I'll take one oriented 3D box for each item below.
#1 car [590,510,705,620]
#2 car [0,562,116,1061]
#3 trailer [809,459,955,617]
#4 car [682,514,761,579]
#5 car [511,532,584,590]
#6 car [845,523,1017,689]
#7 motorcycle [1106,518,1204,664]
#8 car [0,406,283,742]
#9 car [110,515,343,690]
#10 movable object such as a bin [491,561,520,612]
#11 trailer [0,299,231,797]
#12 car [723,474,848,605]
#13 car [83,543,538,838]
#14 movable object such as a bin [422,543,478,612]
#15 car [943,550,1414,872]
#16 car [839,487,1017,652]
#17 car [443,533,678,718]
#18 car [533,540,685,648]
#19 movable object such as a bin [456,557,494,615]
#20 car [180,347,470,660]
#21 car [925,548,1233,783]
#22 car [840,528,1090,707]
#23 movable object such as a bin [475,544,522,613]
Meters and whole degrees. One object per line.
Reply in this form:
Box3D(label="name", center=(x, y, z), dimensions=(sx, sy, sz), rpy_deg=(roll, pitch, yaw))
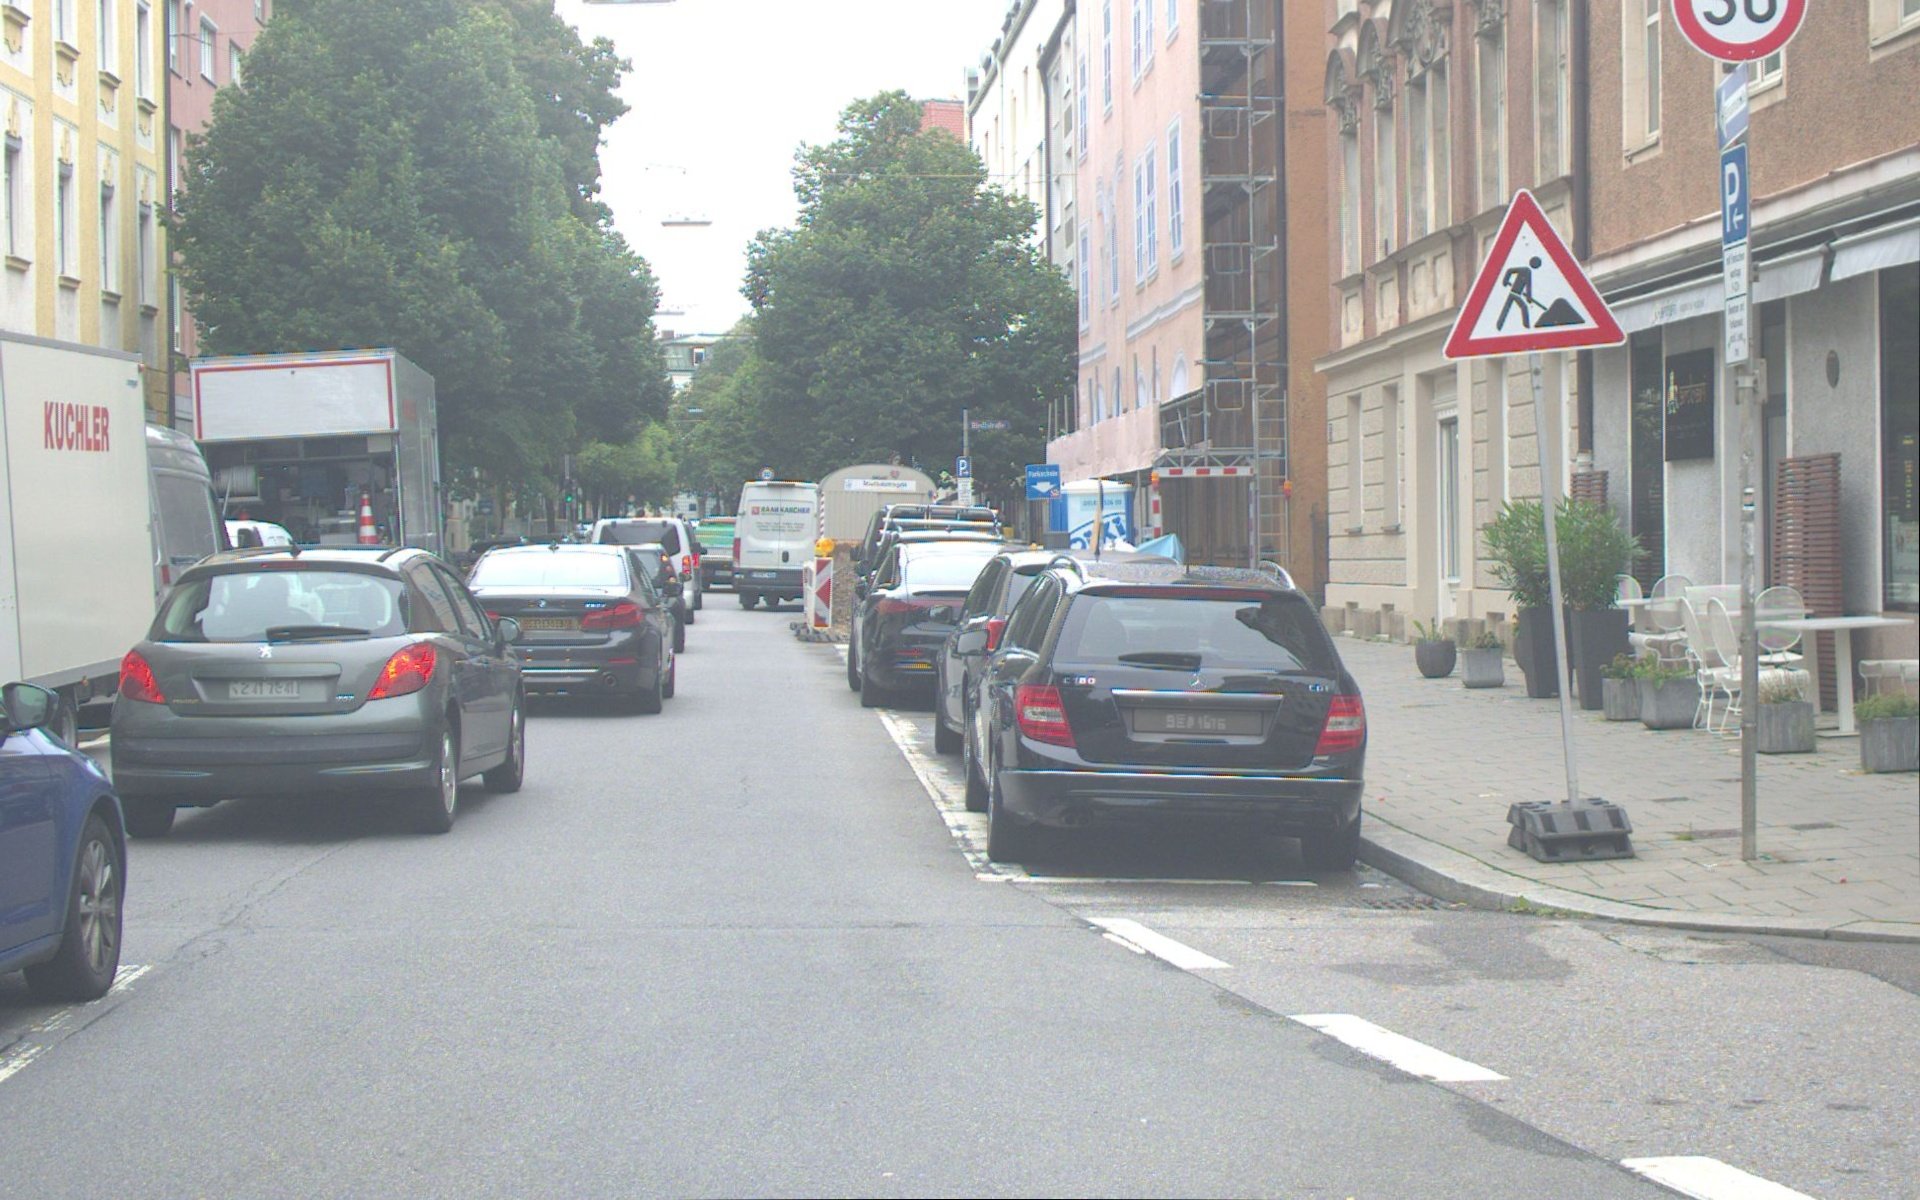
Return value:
Box3D(label="car", center=(-5.522, -0.662, 61.172), dimensions=(1.867, 1.863, 4.348), rpy_deg=(1, 1, -3))
Box3D(label="car", center=(-3.701, 0.645, 9.554), dimensions=(1.789, 1.455, 4.315), rpy_deg=(-1, 1, -2))
Box3D(label="trailer", center=(-1.578, -1.167, 66.101), dimensions=(2.502, 2.830, 6.902), rpy_deg=(1, 1, -3))
Box3D(label="car", center=(-6.301, -1.436, 90.759), dimensions=(2.007, 1.647, 4.348), rpy_deg=(1, 1, -4))
Box3D(label="car", center=(-10.786, -1.035, 90.065), dimensions=(1.812, 1.473, 4.001), rpy_deg=(0, 1, -5))
Box3D(label="car", center=(-0.375, 0.038, 38.226), dimensions=(1.693, 1.671, 4.408), rpy_deg=(2, 0, -2))
Box3D(label="motorcycle", center=(2.056, -0.109, 36.487), dimensions=(0.871, 1.499, 1.997), rpy_deg=(0, 1, -2))
Box3D(label="car", center=(-7.661, -0.249, 30.839), dimensions=(2.056, 2.578, 6.878), rpy_deg=(-5, 1, -4))
Box3D(label="car", center=(-8.088, -0.012, 38.255), dimensions=(1.763, 1.772, 4.327), rpy_deg=(-2, 1, -2))
Box3D(label="movable object such as a bin", center=(-9.343, -0.274, 70.716), dimensions=(0.546, 1.017, 0.636), rpy_deg=(-2, 1, -7))
Box3D(label="trailer", center=(-7.181, -0.339, 23.350), dimensions=(2.803, 2.958, 7.600), rpy_deg=(-4, 2, -1))
Box3D(label="car", center=(-3.655, -1.258, 73.088), dimensions=(2.113, 2.654, 5.500), rpy_deg=(1, 1, 2))
Box3D(label="car", center=(-3.415, 0.420, 18.721), dimensions=(1.741, 1.417, 3.664), rpy_deg=(-1, 1, 0))
Box3D(label="movable object such as a bin", center=(-10.594, -0.480, 71.411), dimensions=(1.081, 1.372, 1.084), rpy_deg=(-3, 1, -7))
Box3D(label="car", center=(0.957, 0.456, 17.605), dimensions=(1.846, 1.400, 4.789), rpy_deg=(0, 1, -3))
Box3D(label="car", center=(-0.476, -0.328, 43.966), dimensions=(2.082, 1.914, 5.140), rpy_deg=(1, -1, -2))
Box3D(label="car", center=(-3.428, 0.166, 30.166), dimensions=(1.867, 1.449, 4.348), rpy_deg=(1, 1, -4))
Box3D(label="car", center=(-4.745, -0.116, 46.918), dimensions=(1.867, 1.343, 4.348), rpy_deg=(1, 1, -3))
Box3D(label="movable object such as a bin", center=(-9.956, -0.288, 70.618), dimensions=(0.711, 1.144, 0.636), rpy_deg=(-3, 1, -7))
Box3D(label="car", center=(-8.412, -1.251, 46.580), dimensions=(2.812, 3.804, 8.725), rpy_deg=(-1, 1, -4))
Box3D(label="car", center=(0.701, 0.369, 22.815), dimensions=(1.572, 1.389, 4.183), rpy_deg=(-1, 1, -4))
Box3D(label="car", center=(-0.051, 0.095, 32.570), dimensions=(1.930, 1.547, 5.638), rpy_deg=(0, 1, -4))
Box3D(label="movable object such as a bin", center=(-9.604, -0.458, 71.553), dimensions=(0.918, 1.372, 1.080), rpy_deg=(-3, 1, -7))
